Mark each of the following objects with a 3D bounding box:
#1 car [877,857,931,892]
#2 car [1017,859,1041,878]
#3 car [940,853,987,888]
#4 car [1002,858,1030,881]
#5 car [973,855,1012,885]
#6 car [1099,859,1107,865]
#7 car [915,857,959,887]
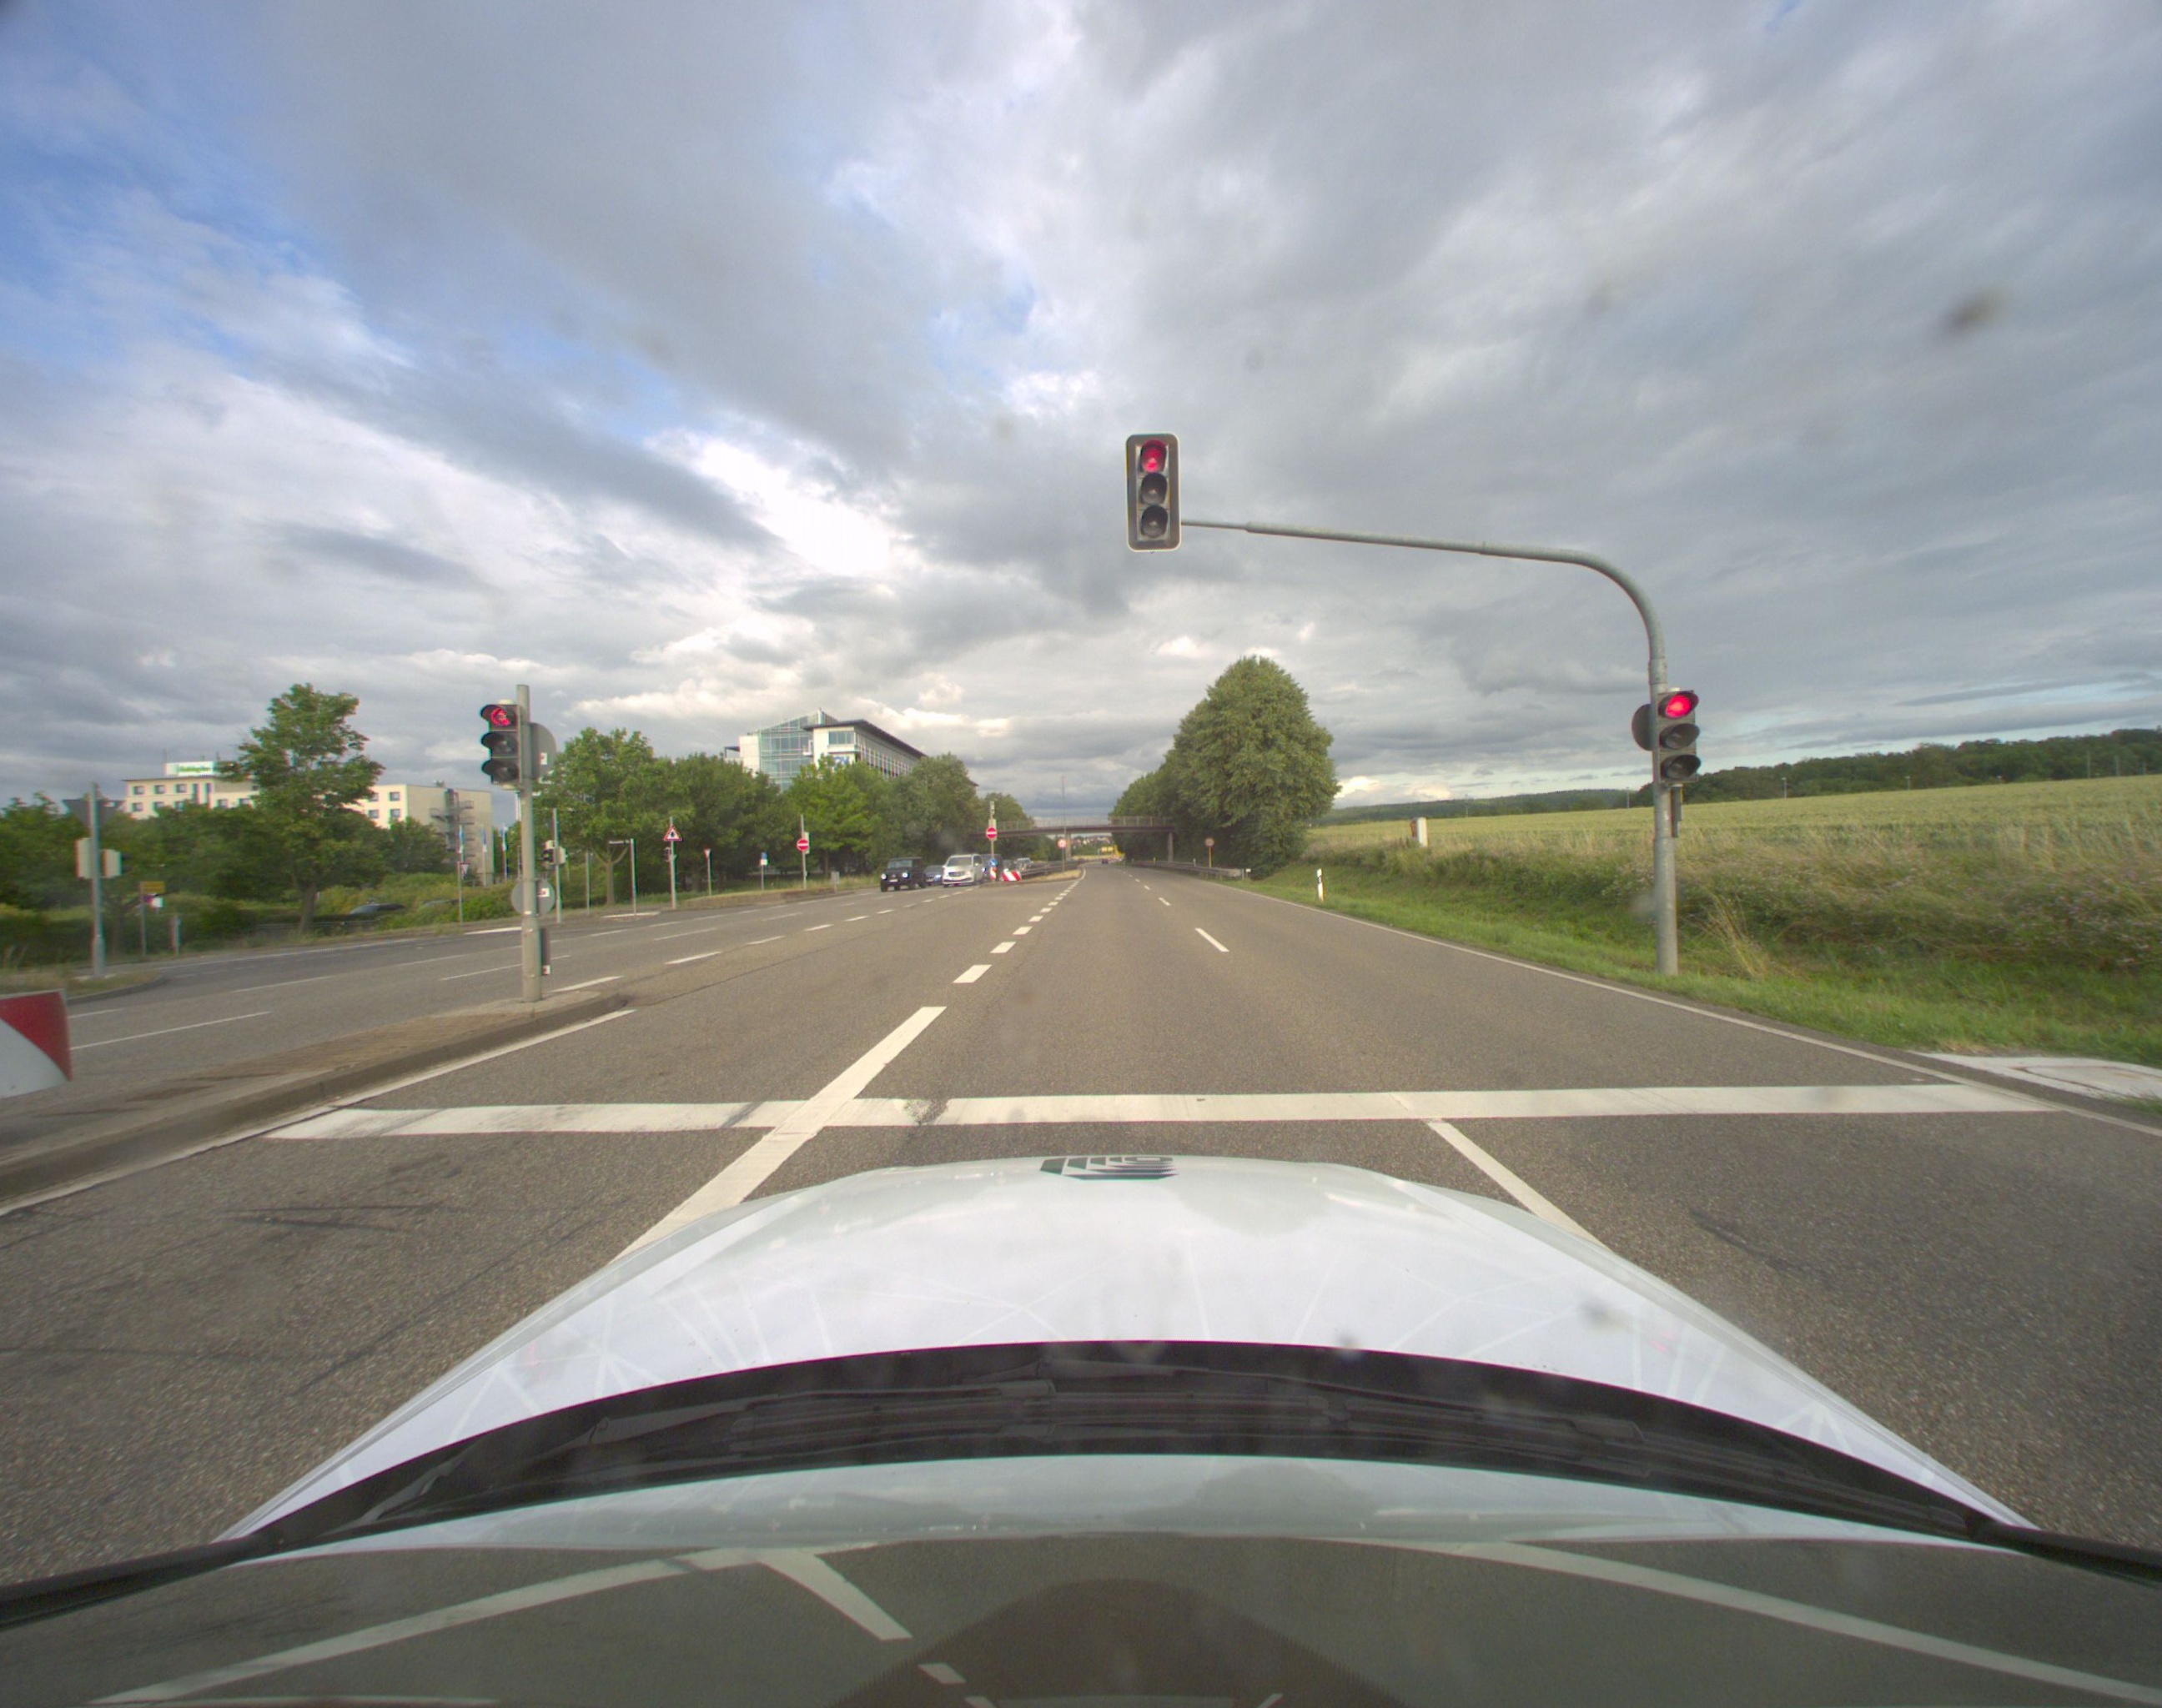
[{"bbox_3d":[-10.723,1.189,49.665,2.076,2.014,5.216,0,-1,1],"label":"car"},{"bbox_3d":[-5.541,1.504,87.270,2.076,2.014,5.216,0,-1,1],"label":"car"},{"bbox_3d":[-7.103,0.966,49.692,2.076,2.014,5.216,0,-1,1],"label":"car"},{"bbox_3d":[-6.002,1.405,75.961,2.076,2.014,5.216,0,-1,1],"label":"car"},{"bbox_3d":[-6.186,1.074,57.411,2.076,2.014,5.216,0,-1,1],"label":"car"},{"bbox_3d":[6.437,2.333,237.464,1.875,1.552,3.996,0,-1,-2],"label":"car"},{"bbox_3d":[-10.027,1.253,57.154,2.076,2.014,5.216,0,-1,1],"label":"car"}]
